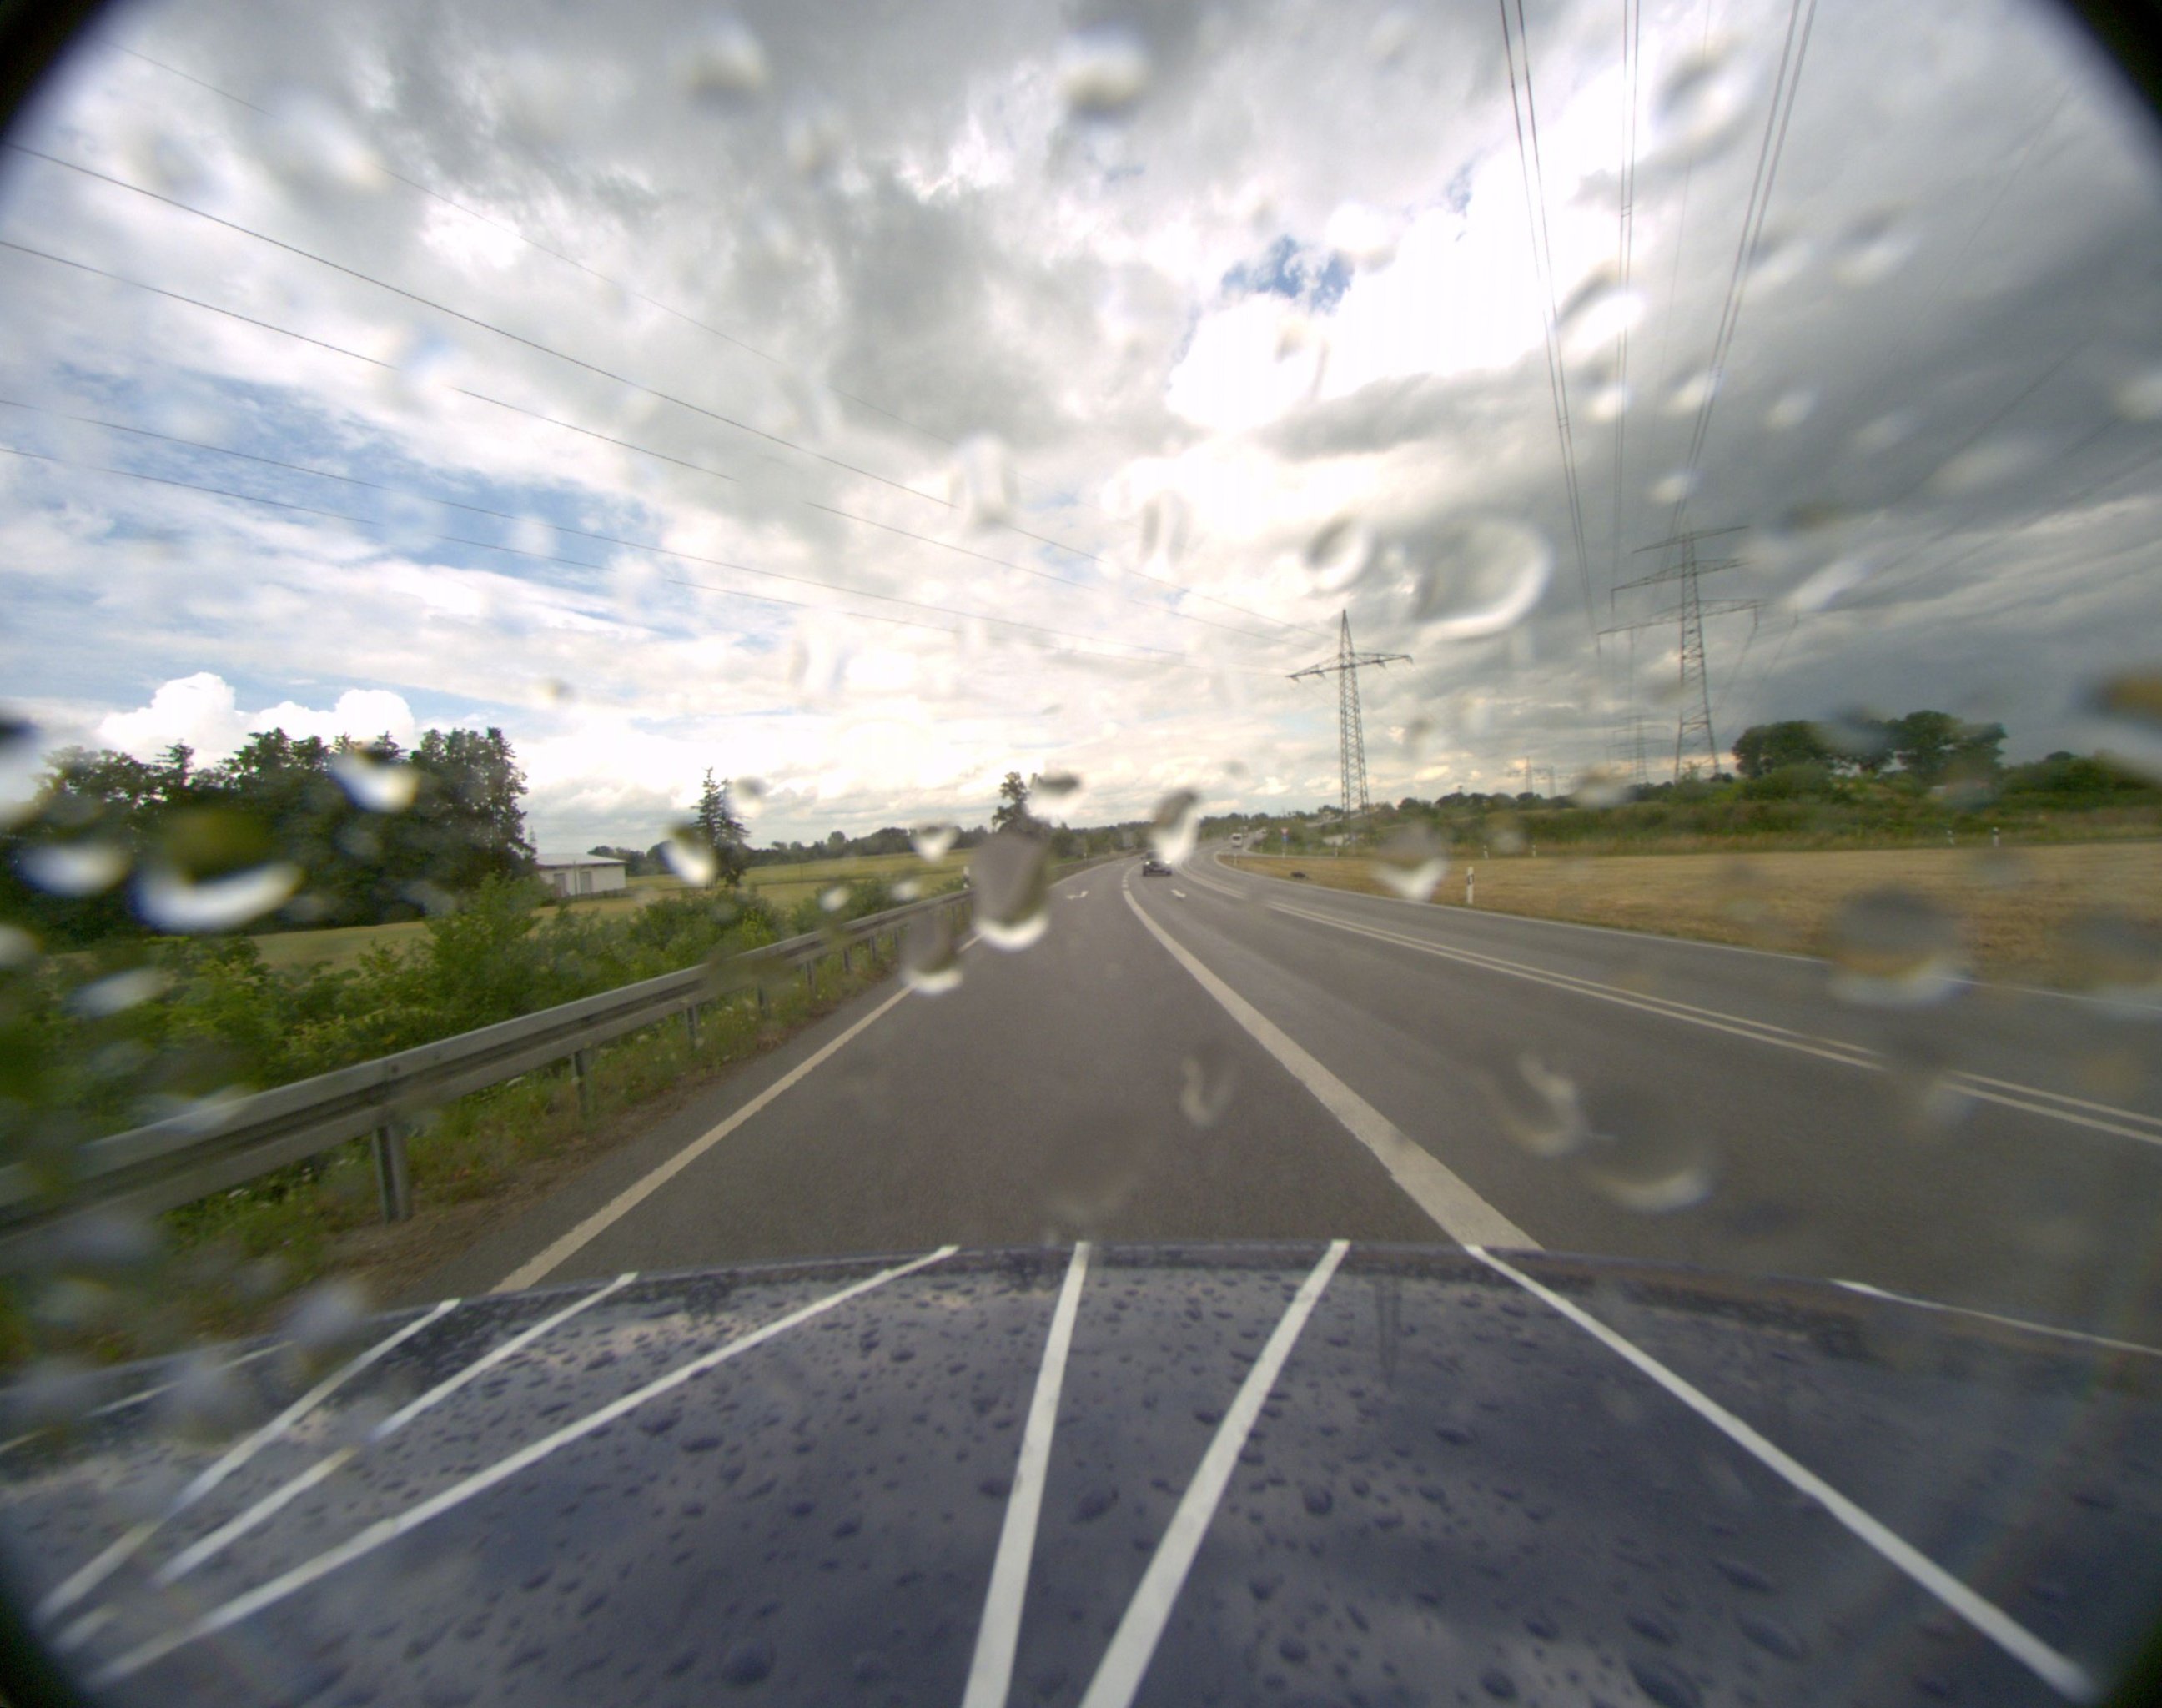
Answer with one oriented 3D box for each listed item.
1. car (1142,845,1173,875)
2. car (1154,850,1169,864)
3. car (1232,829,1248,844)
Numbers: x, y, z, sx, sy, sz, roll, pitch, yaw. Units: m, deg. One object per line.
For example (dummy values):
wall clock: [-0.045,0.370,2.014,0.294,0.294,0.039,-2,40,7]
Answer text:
car: [4.967,0.346,49.785,1.795,1.759,4.000,-3,2,3]
car: [9.831,0.300,92.526,1.748,1.488,4.051,-2,2,7]
car: [30.892,-3.450,147.319,2.210,2.733,6.028,-4,1,19]
